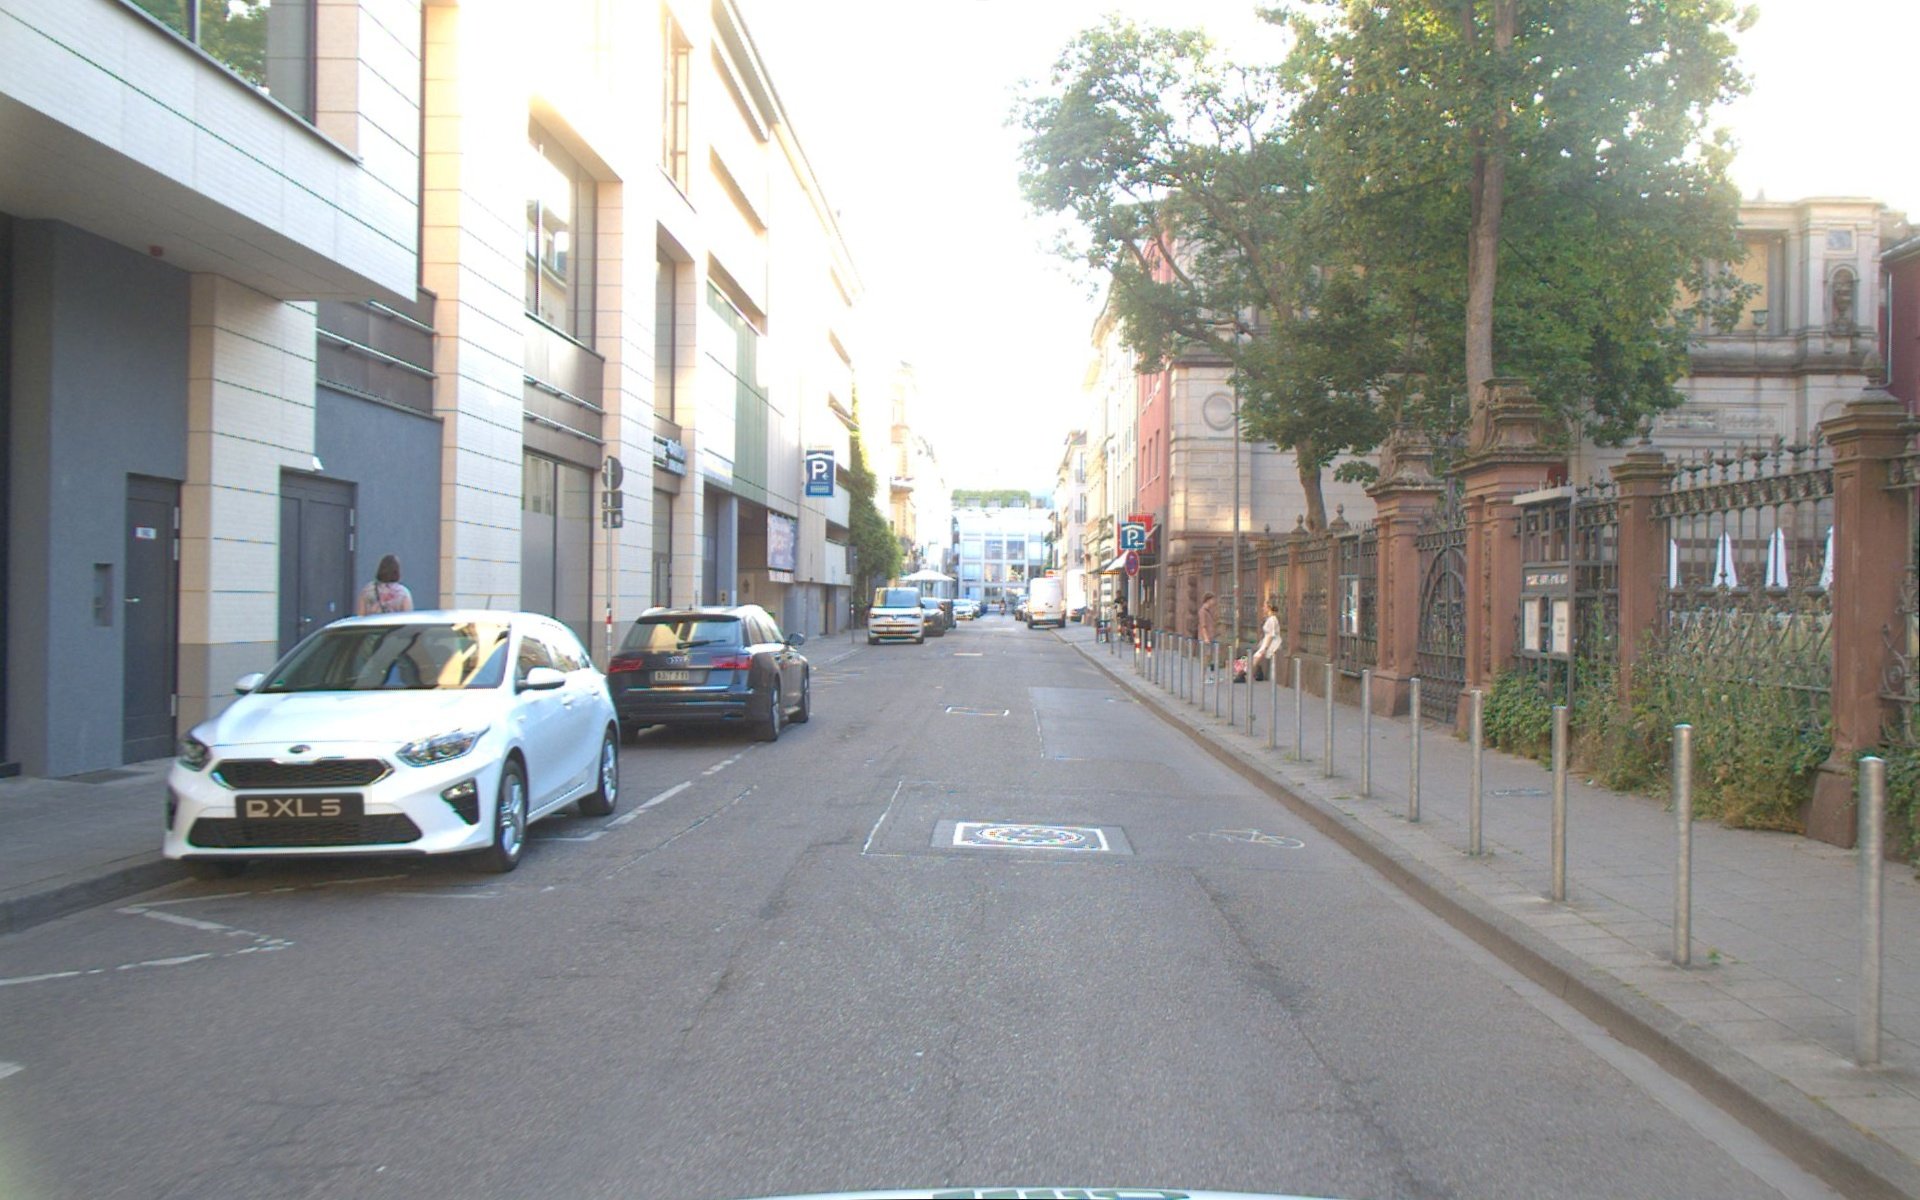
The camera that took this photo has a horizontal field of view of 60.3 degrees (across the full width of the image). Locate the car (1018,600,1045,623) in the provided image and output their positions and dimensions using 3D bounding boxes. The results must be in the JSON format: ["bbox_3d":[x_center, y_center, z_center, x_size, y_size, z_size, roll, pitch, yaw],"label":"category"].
[{"bbox_3d":[5.488,0.886,127.283,1.952,1.713,4.001,1,-1,2],"label":"car"}]

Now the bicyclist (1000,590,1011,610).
[{"bbox_3d":[4.264,0.015,155.236,0.969,1.901,0.708,1,-1,1],"label":"bicyclist"}]

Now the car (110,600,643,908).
[{"bbox_3d":[-3.239,0.747,10.147,1.741,1.478,4.230,1,0,0],"label":"car"}]

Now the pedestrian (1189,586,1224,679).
[{"bbox_3d":[4.520,0.590,30.314,0.475,1.687,0.618,-1,0,-6],"label":"pedestrian"}]

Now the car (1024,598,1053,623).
[{"bbox_3d":[5.471,0.749,115.449,1.952,1.713,4.001,1,-1,2],"label":"car"}]

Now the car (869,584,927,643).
[{"bbox_3d":[-2.122,0.459,57.673,1.845,1.945,4.748,1,0,0],"label":"car"}]

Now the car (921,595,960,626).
[{"bbox_3d":[-0.943,0.515,82.631,1.845,1.478,4.000,1,0,0],"label":"car"}]

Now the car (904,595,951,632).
[{"bbox_3d":[-1.314,0.555,68.830,1.845,1.478,4.000,1,0,0],"label":"car"}]

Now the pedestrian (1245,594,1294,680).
[{"bbox_3d":[5.628,0.665,30.107,0.734,1.526,0.618,-1,0,-4],"label":"pedestrian"}]

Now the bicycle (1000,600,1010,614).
[{"bbox_3d":[4.263,0.691,155.601,0.955,1.303,2.755,1,-1,2],"label":"bicycle"}]

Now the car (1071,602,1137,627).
[{"bbox_3d":[8.813,0.870,101.362,3.904,1.445,1.657,1,-1,2],"label":"car"}]

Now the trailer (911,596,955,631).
[{"bbox_3d":[-1.260,0.659,78.066,1.952,1.584,4.000,1,-1,0],"label":"trailer"}]

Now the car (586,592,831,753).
[{"bbox_3d":[-2.756,0.737,19.234,1.844,1.626,4.691,1,0,3],"label":"car"}]

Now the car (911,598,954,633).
[{"bbox_3d":[-1.206,0.668,73.716,1.845,1.478,4.000,1,0,0],"label":"car"}]

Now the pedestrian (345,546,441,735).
[{"bbox_3d":[-5.418,0.380,15.838,0.658,1.775,0.647,1,0,1],"label":"pedestrian"}]

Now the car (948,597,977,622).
[{"bbox_3d":[0.183,0.683,116.966,1.952,1.713,4.001,1,-1,2],"label":"car"}]

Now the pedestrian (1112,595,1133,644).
[{"bbox_3d":[5.643,0.674,57.561,0.648,1.695,0.624,-1,0,2],"label":"pedestrian"}]

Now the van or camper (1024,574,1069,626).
[{"bbox_3d":[4.700,0.030,90.671,2.211,2.652,5.113,-4,-1,2],"label":"van or camper"}]

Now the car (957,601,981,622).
[{"bbox_3d":[0.766,0.954,139.594,1.952,1.713,4.001,1,-1,2],"label":"car"}]
